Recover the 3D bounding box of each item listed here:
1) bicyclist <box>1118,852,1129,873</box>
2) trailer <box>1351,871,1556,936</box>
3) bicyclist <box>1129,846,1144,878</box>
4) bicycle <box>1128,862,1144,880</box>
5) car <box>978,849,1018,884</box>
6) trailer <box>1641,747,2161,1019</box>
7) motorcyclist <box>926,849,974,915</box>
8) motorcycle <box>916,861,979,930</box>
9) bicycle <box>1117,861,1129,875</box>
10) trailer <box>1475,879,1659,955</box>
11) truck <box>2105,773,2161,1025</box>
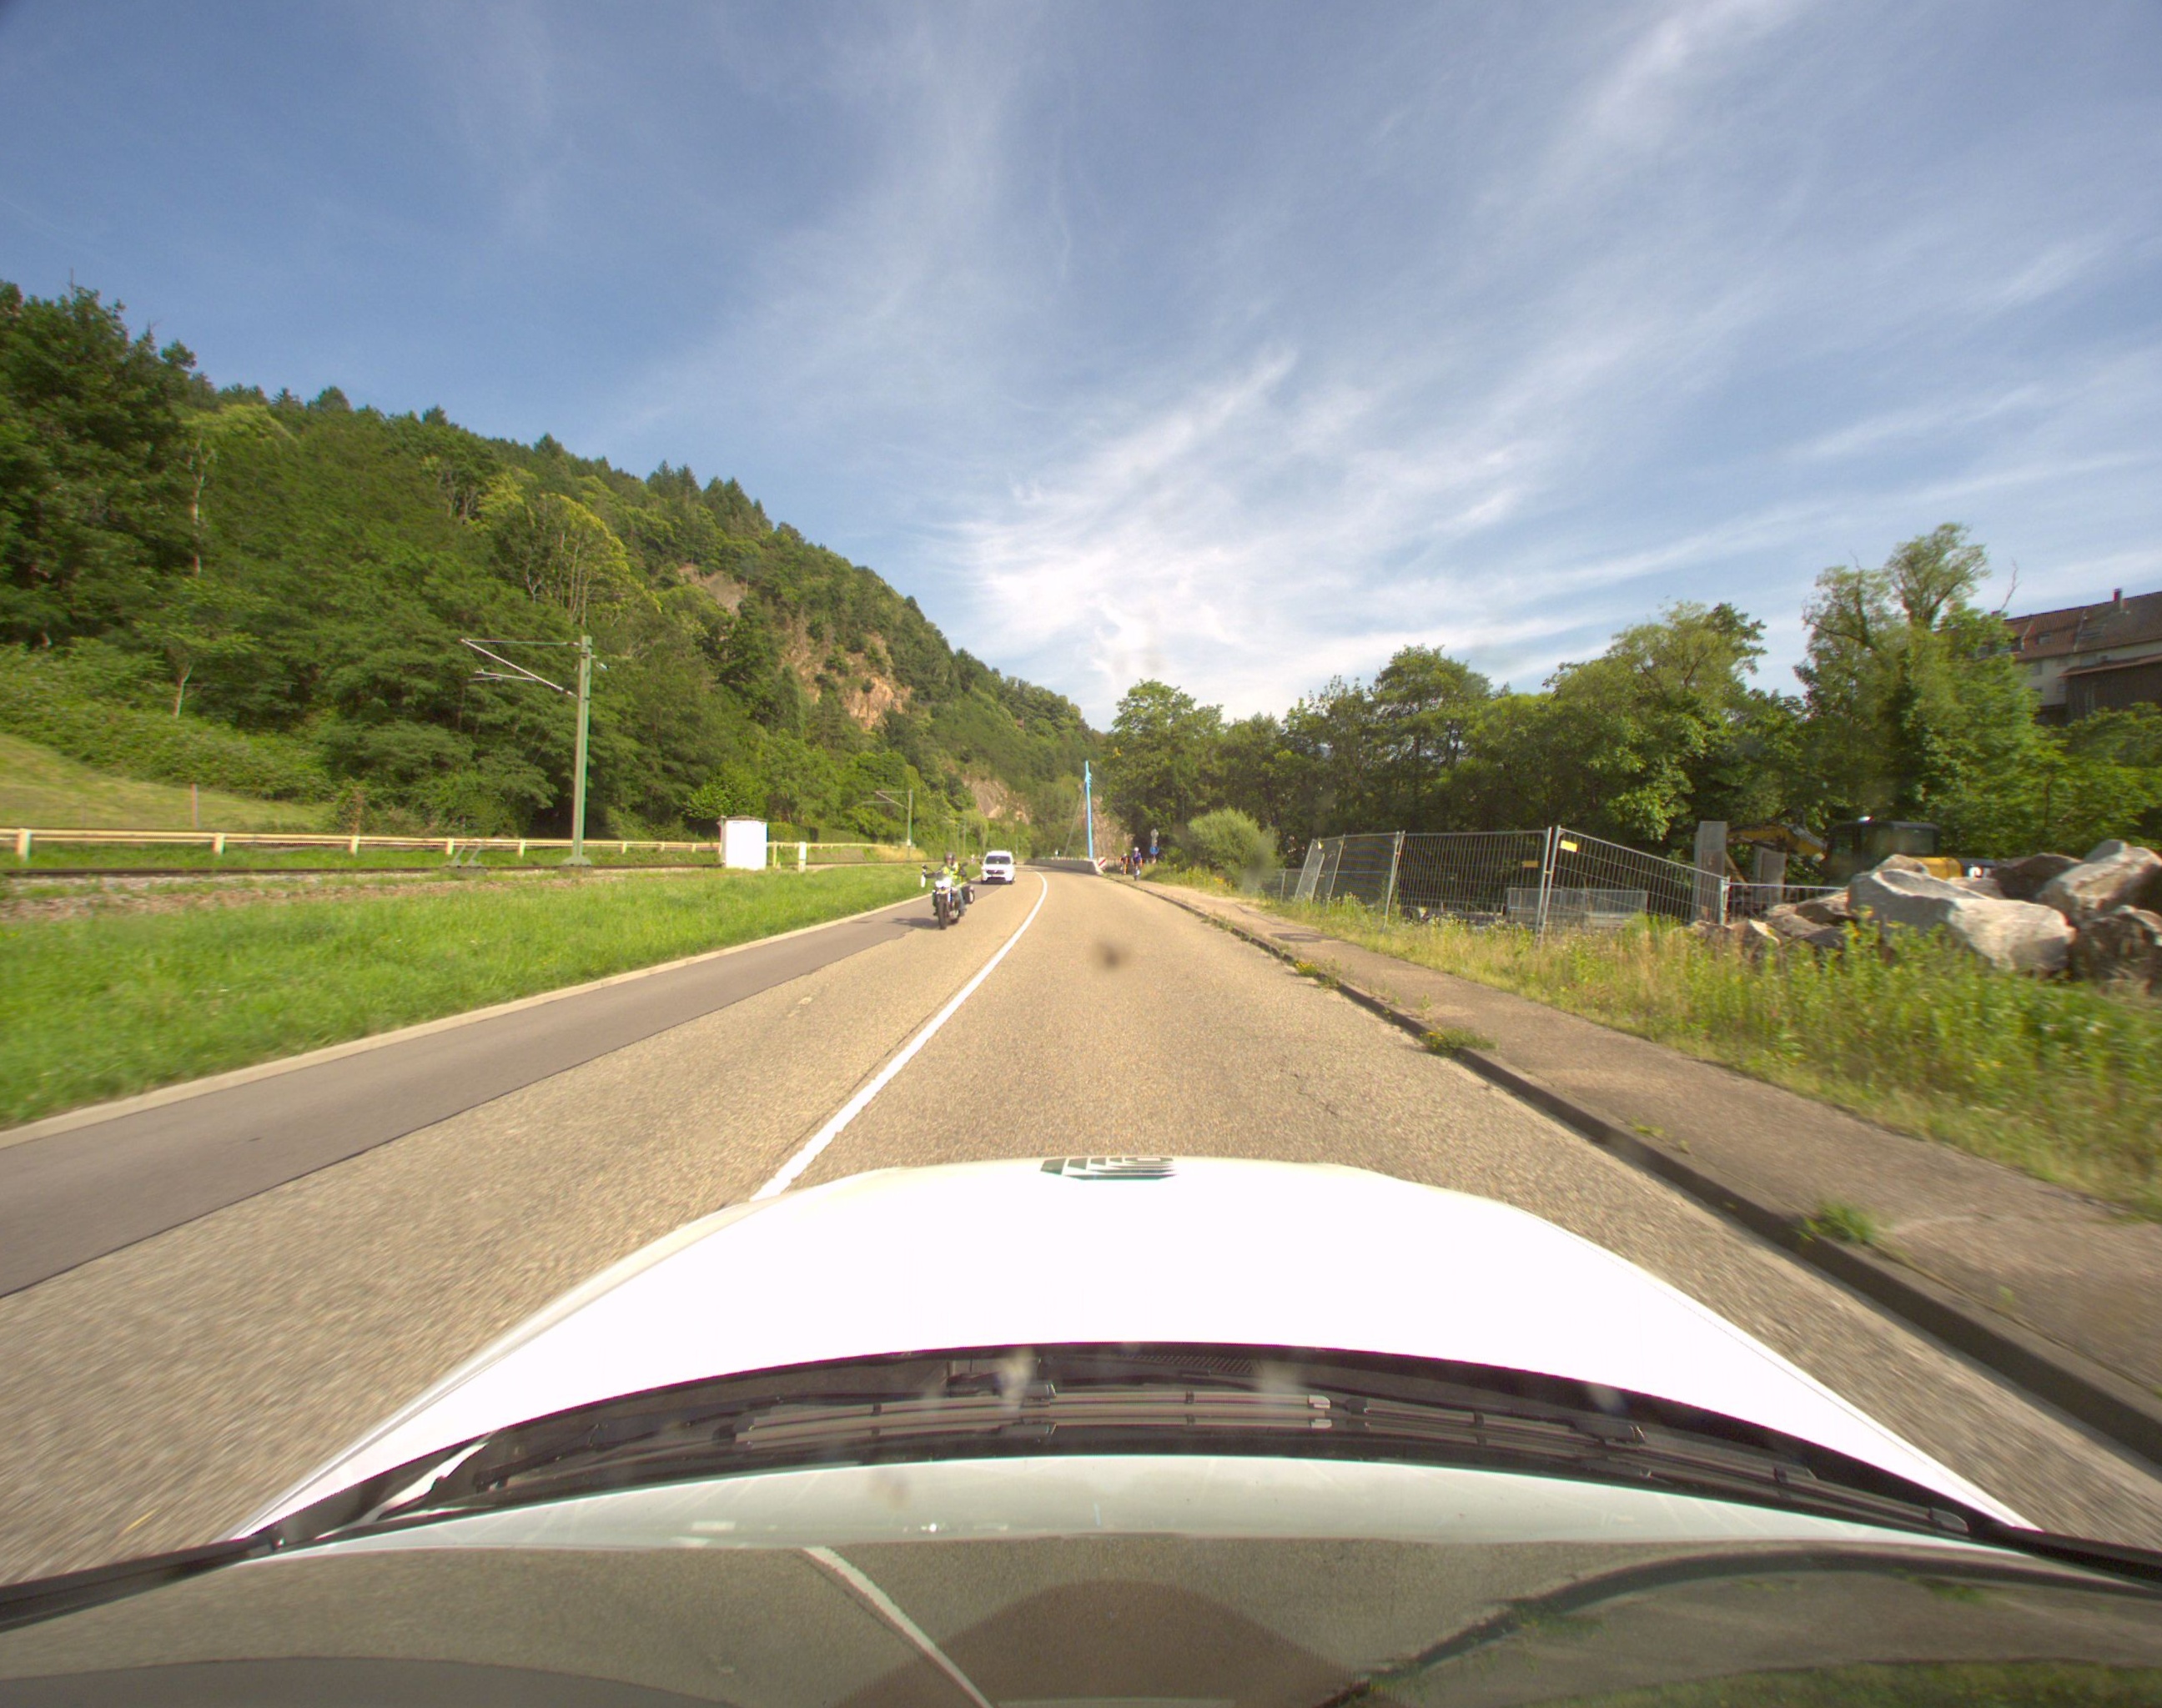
[{"bbox_3d":[2.870,0.551,54.993,0.591,1.401,0.760,3,0,-4],"label":"bicyclist"},{"bbox_3d":[13.924,1.715,32.015,2.383,2.014,11.489,2,-1,-2],"label":"trailer"},{"bbox_3d":[2.993,0.434,43.908,0.639,1.654,0.807,3,0,-4],"label":"bicyclist"},{"bbox_3d":[2.967,0.915,43.844,0.647,0.942,1.846,2,0,-3],"label":"bicycle"},{"bbox_3d":[-4.485,0.643,44.630,1.865,1.781,4.595,-1,0,-3],"label":"car"},{"bbox_3d":[17.608,0.583,17.921,3.358,4.274,9.896,2,-1,-3],"label":"trailer"},{"bbox_3d":[-2.907,0.612,18.131,0.855,1.423,0.964,0,0,3],"label":"motorcyclist"},{"bbox_3d":[-2.913,0.868,18.062,0.858,1.383,2.405,0,0,3],"label":"motorcycle"},{"bbox_3d":[2.850,0.943,54.983,0.598,0.916,1.846,3,0,-3],"label":"bicycle"},{"bbox_3d":[13.570,1.691,23.183,2.051,1.823,4.781,2,-1,-6],"label":"trailer"},{"bbox_3d":[18.025,0.716,8.682,3.097,3.782,8.633,2,0,-4],"label":"truck"}]
